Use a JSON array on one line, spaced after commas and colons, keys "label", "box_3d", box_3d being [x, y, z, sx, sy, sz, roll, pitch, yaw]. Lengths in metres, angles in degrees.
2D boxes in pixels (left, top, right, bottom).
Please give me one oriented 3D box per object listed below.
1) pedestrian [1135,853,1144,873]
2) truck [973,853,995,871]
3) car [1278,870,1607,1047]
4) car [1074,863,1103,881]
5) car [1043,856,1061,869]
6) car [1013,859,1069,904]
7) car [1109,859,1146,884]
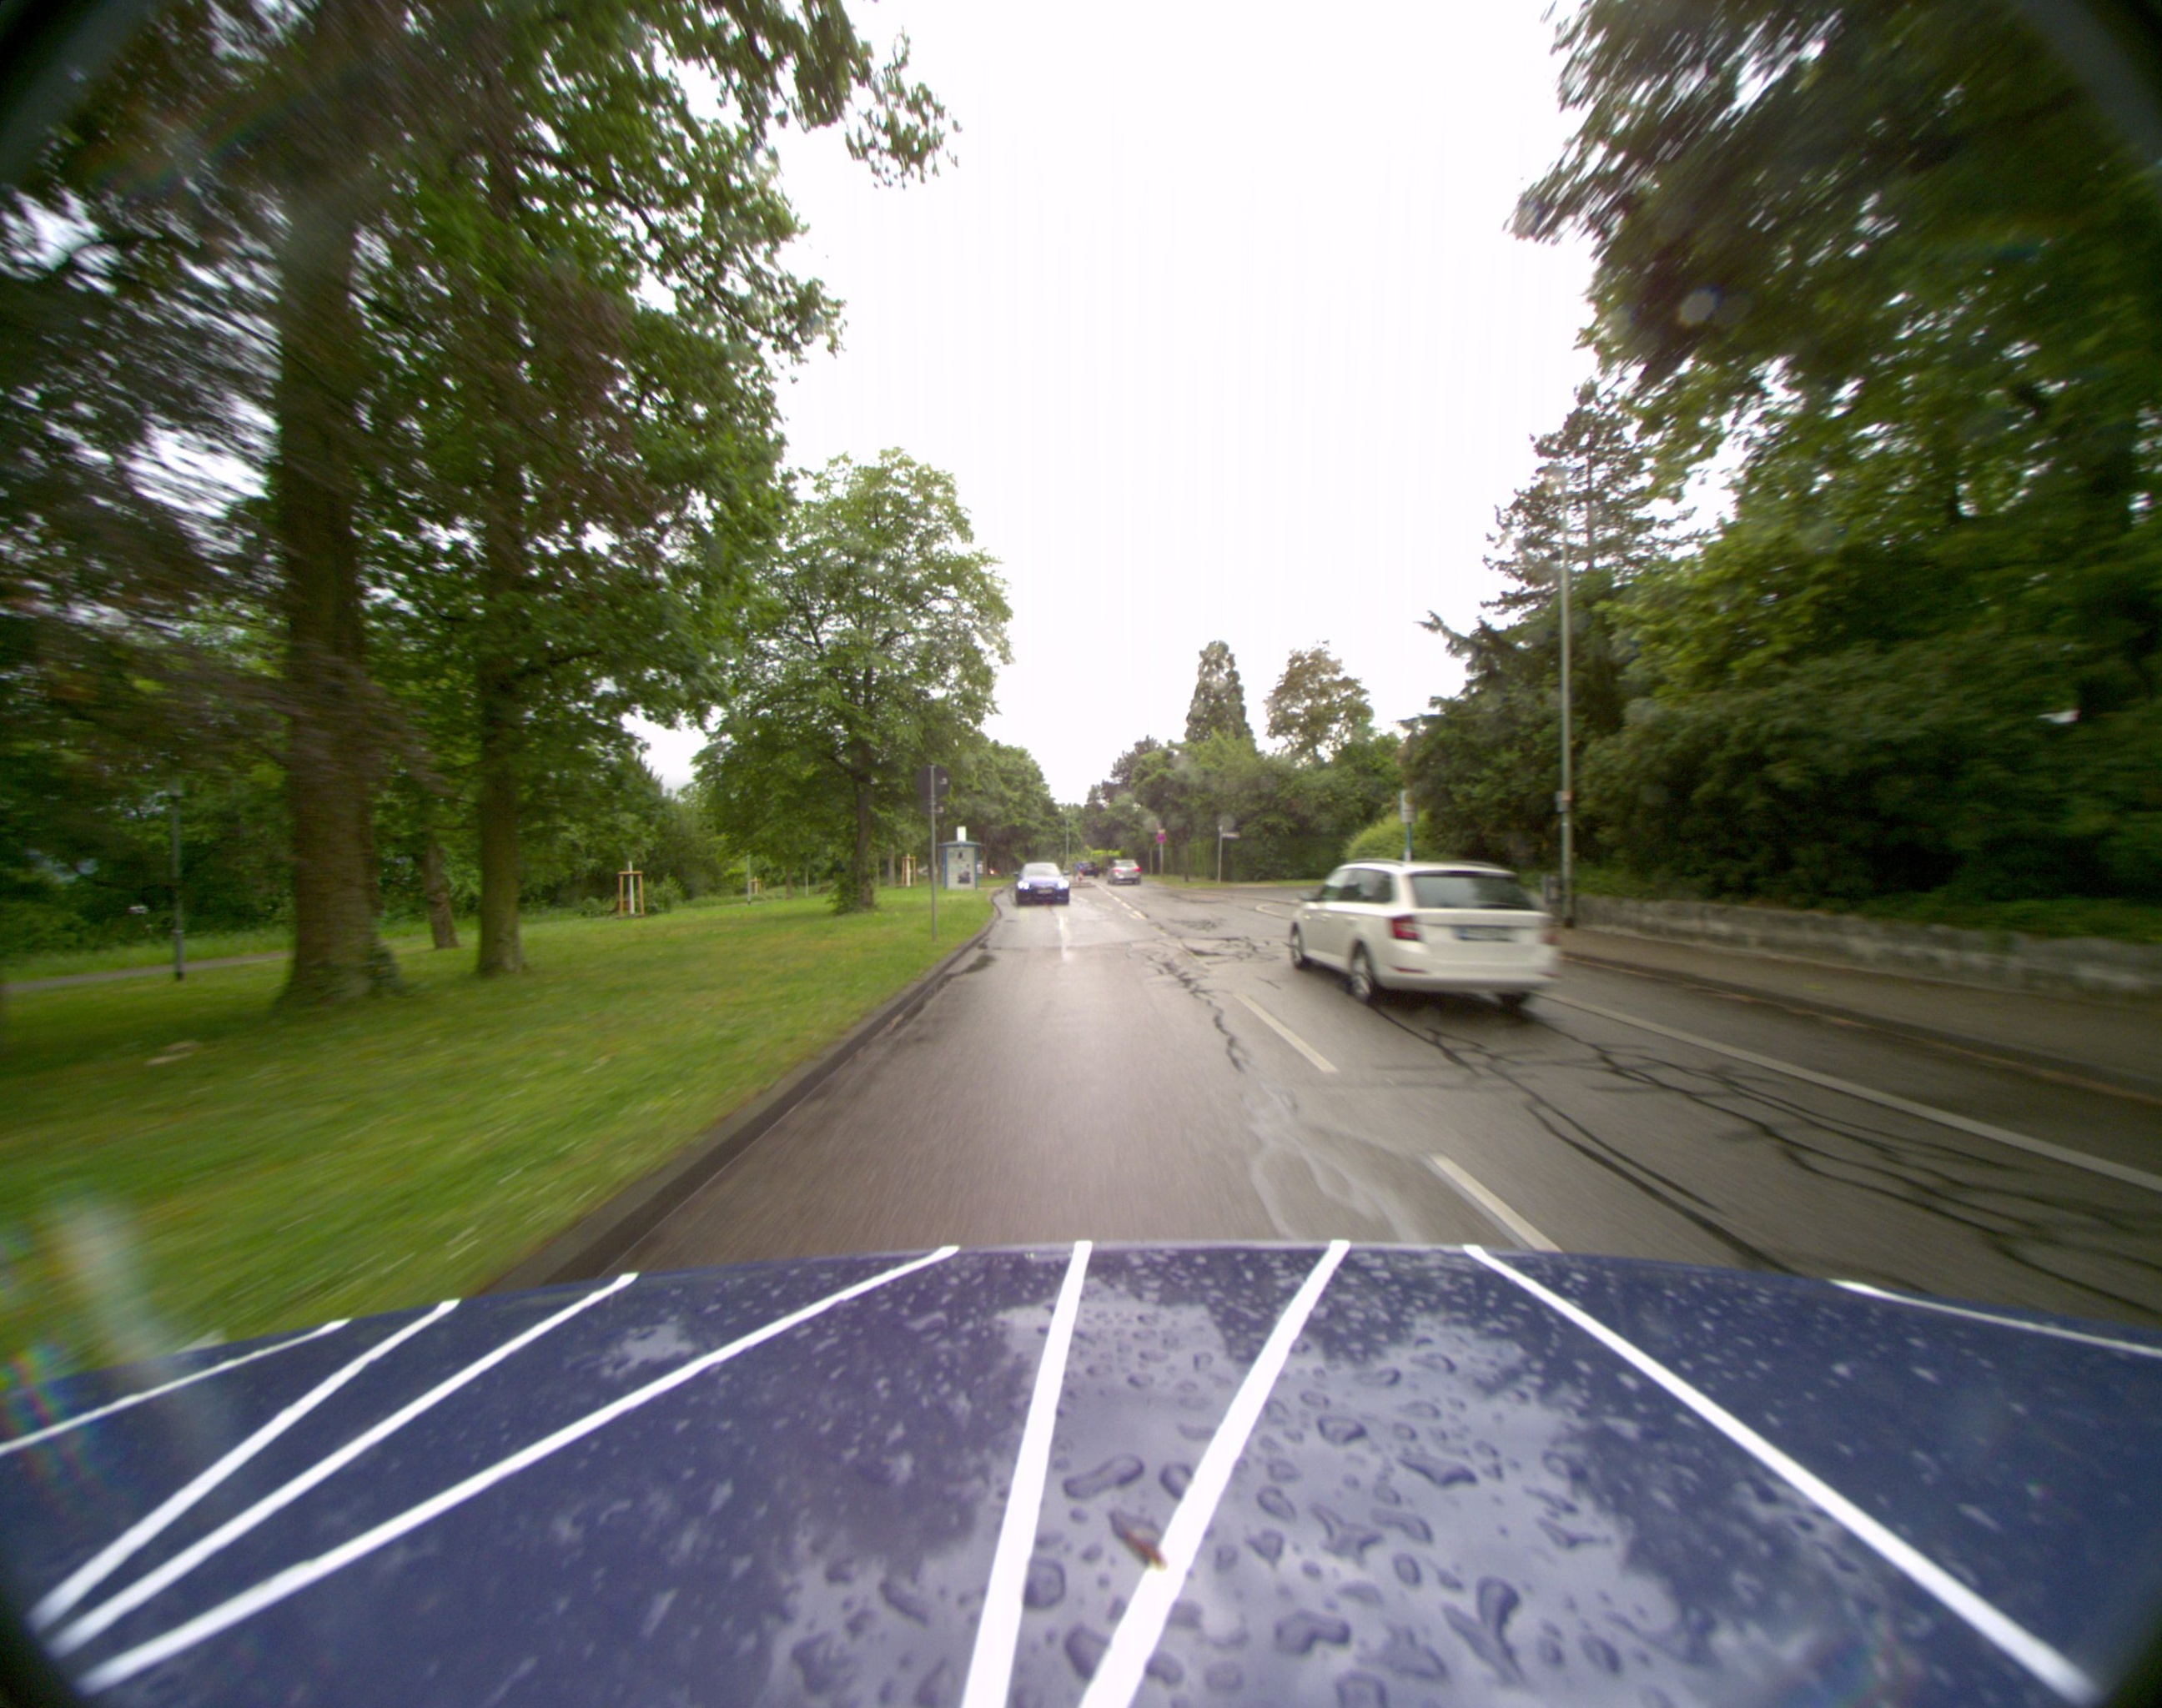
[{"label": "pedestrian", "box_3d": [5.470, 0.835, 71.412, 0.713, 1.820, 0.881, -2, 0, 2]}, {"label": "truck", "box_3d": [-17.302, 1.491, 134.969, 2.150, 3.027, 5.158, -2, 0, -26]}, {"label": "car", "box_3d": [3.606, 0.936, 8.489, 1.705, 1.402, 4.008, 1, 0, -1]}, {"label": "car", "box_3d": [0.685, 1.667, 71.655, 2.000, 1.568, 3.997, -1, 0, -9]}, {"label": "car", "box_3d": [-5.012, 1.509, 129.757, 2.001, 2.077, 3.995, -2, 0, -17]}, {"label": "car", "box_3d": [-1.403, 0.960, 28.028, 1.839, 1.502, 4.000, -2, 0, 0]}, {"label": "car", "box_3d": [2.797, 1.036, 46.254, 1.795, 1.414, 4.358, 1, 0, -3]}]
